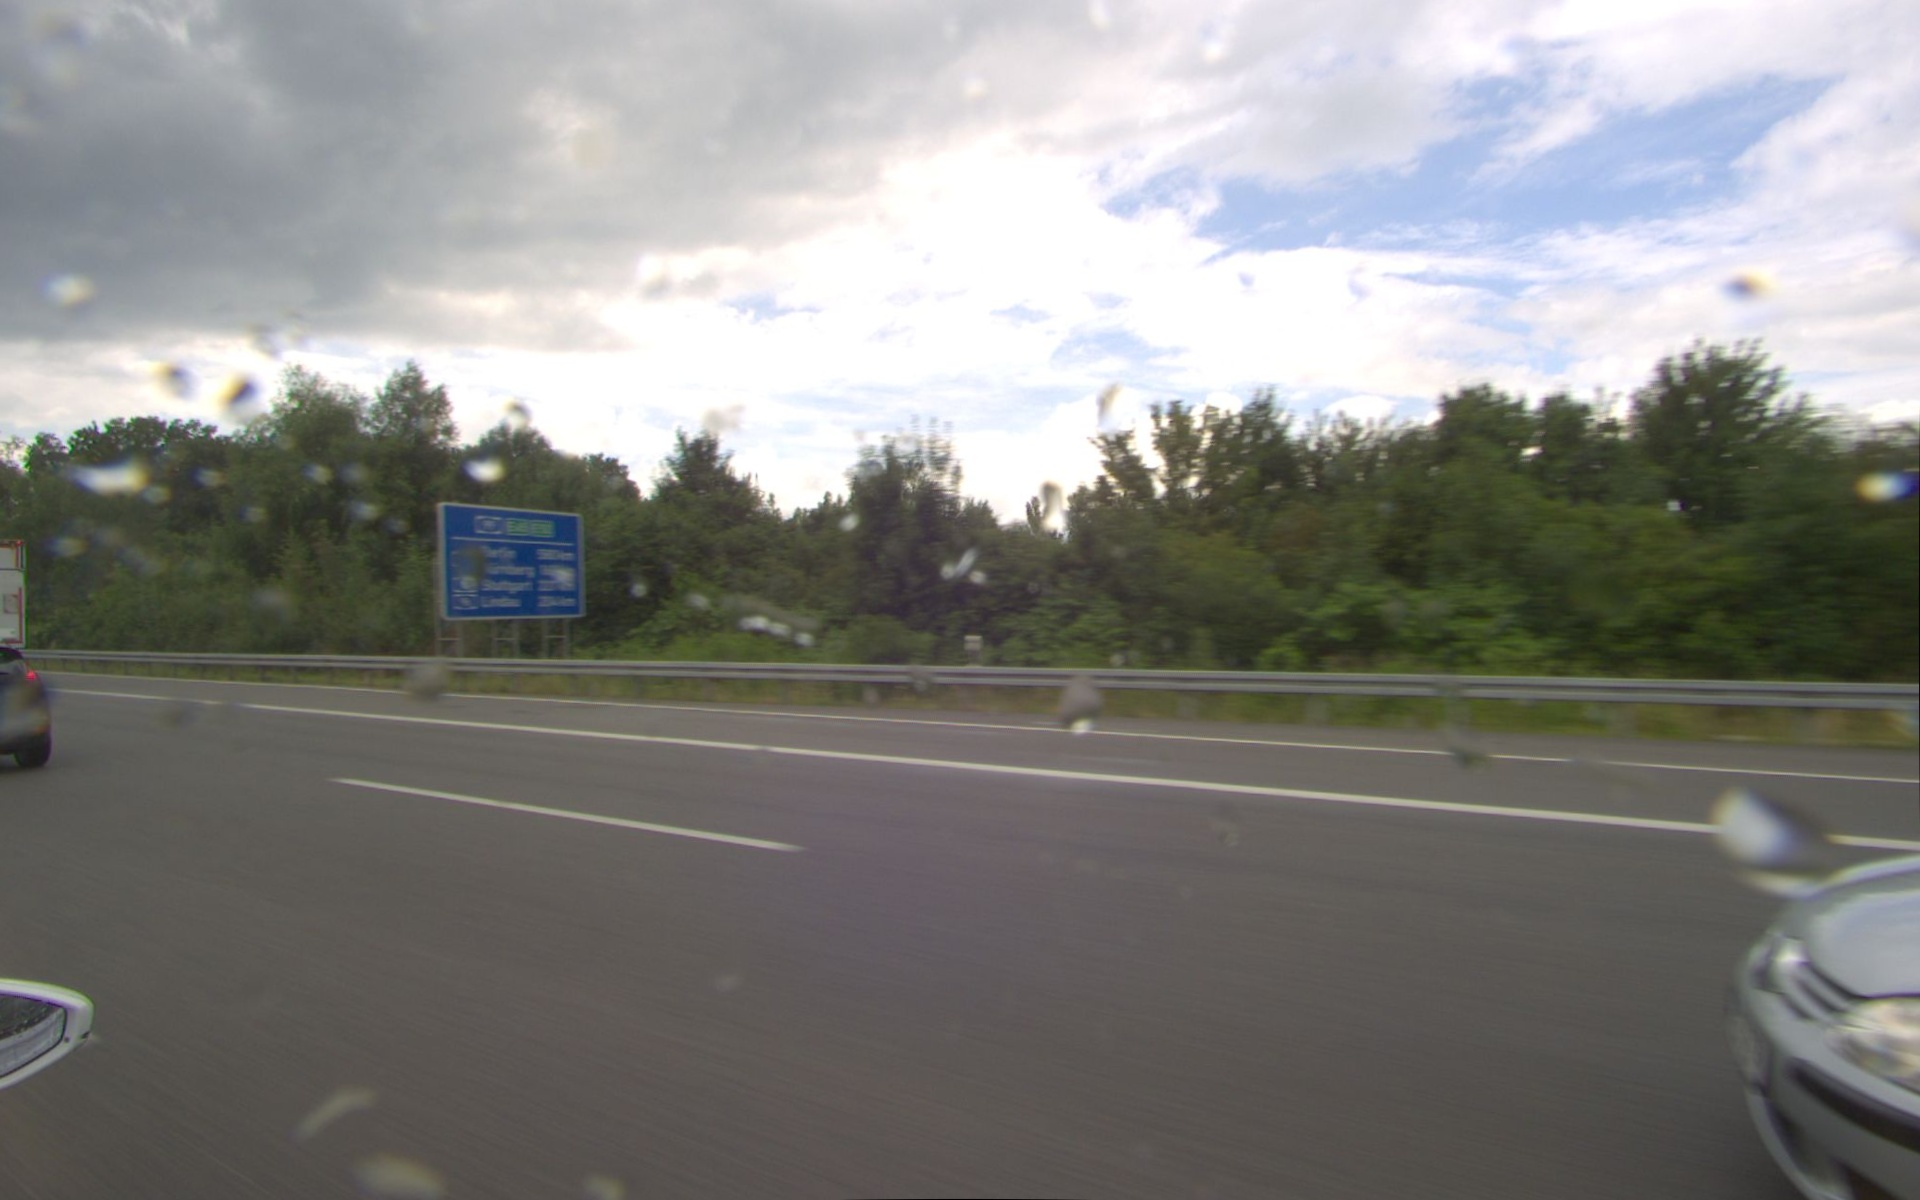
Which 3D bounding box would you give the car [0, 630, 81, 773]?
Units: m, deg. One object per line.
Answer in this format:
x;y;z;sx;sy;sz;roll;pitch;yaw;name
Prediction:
-11.703;1.062;11.096;4.222;1.425;1.881;-1;-1;33;car

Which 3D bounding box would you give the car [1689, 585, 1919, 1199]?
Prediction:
3.648;0.720;1.497;3.979;1.496;1.792;-1;-1;31;car

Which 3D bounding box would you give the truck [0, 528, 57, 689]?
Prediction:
-26.769;0.246;25.633;9.709;3.758;3.126;-1;-1;33;truck
